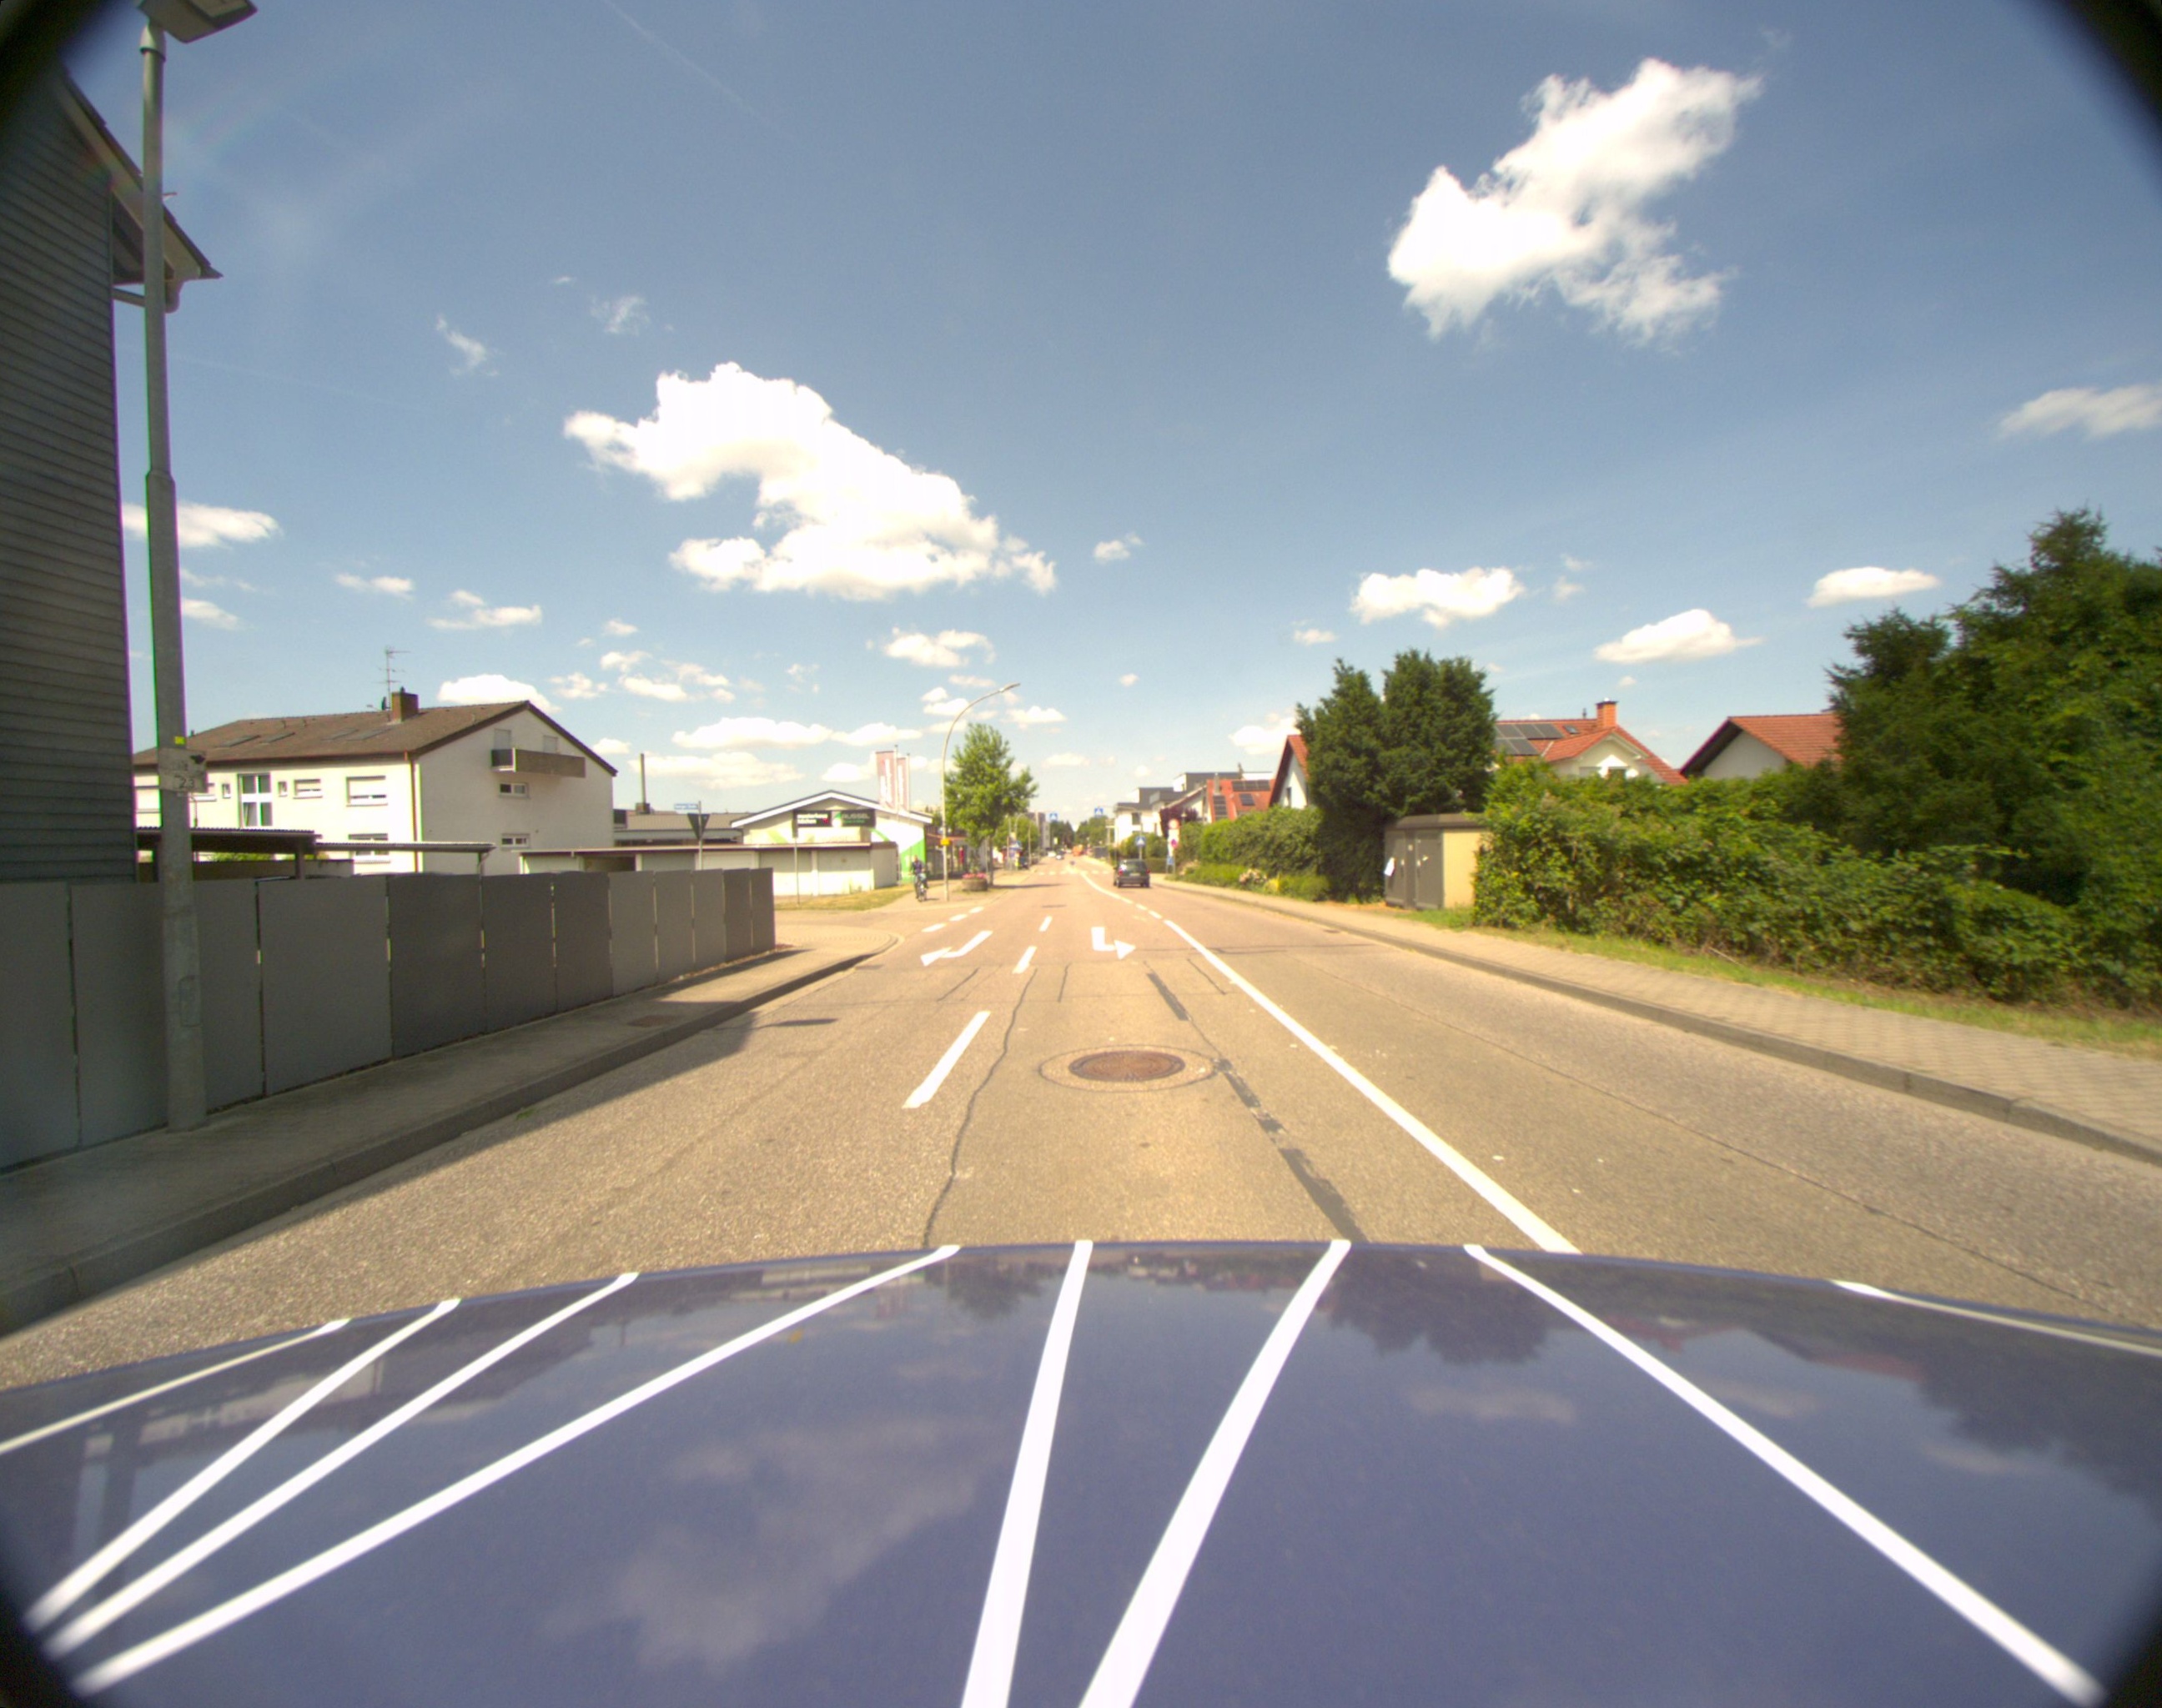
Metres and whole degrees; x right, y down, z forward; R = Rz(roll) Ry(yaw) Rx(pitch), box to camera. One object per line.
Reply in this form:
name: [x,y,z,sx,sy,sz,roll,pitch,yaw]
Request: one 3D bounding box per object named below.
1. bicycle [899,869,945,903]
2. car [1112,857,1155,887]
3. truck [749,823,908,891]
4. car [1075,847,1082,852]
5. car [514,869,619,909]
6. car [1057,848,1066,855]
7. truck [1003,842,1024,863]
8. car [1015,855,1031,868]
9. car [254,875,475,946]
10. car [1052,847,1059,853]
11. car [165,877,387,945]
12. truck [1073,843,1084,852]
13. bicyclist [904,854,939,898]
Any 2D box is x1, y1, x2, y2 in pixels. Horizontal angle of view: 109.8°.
bicycle: [-5.948,1.184,28.513,0.804,1.158,1.945,-2,0,16]
car: [2.590,0.857,38.302,1.785,1.425,3.871,0,0,-1]
truck: [-14.464,0.149,44.047,8.192,3.552,2.676,-2,2,-2]
car: [-0.629,-1.243,207.577,1.799,1.480,3.612,0,1,-2]
car: [-22.256,1.473,33.075,1.679,1.494,4.131,-1,1,0]
car: [-4.191,-0.485,163.349,1.729,1.484,3.759,0,1,-1]
truck: [-9.288,-0.222,103.608,2.580,2.745,6.329,0,1,-7]
car: [-6.714,0.857,88.699,1.729,1.484,3.759,0,1,-2]
car: [-18.528,1.378,19.976,1.741,1.638,4.217,-1,-1,2]
car: [-6.757,-1.027,199.854,1.729,1.484,3.759,0,1,-1]
car: [-21.083,1.432,20.165,1.741,1.577,3.854,-1,-1,2]
truck: [-0.809,-1.859,221.730,2.865,2.695,6.789,0,1,-2]
bicyclist: [-5.964,0.812,28.517,0.804,1.620,1.113,-2,0,16]
